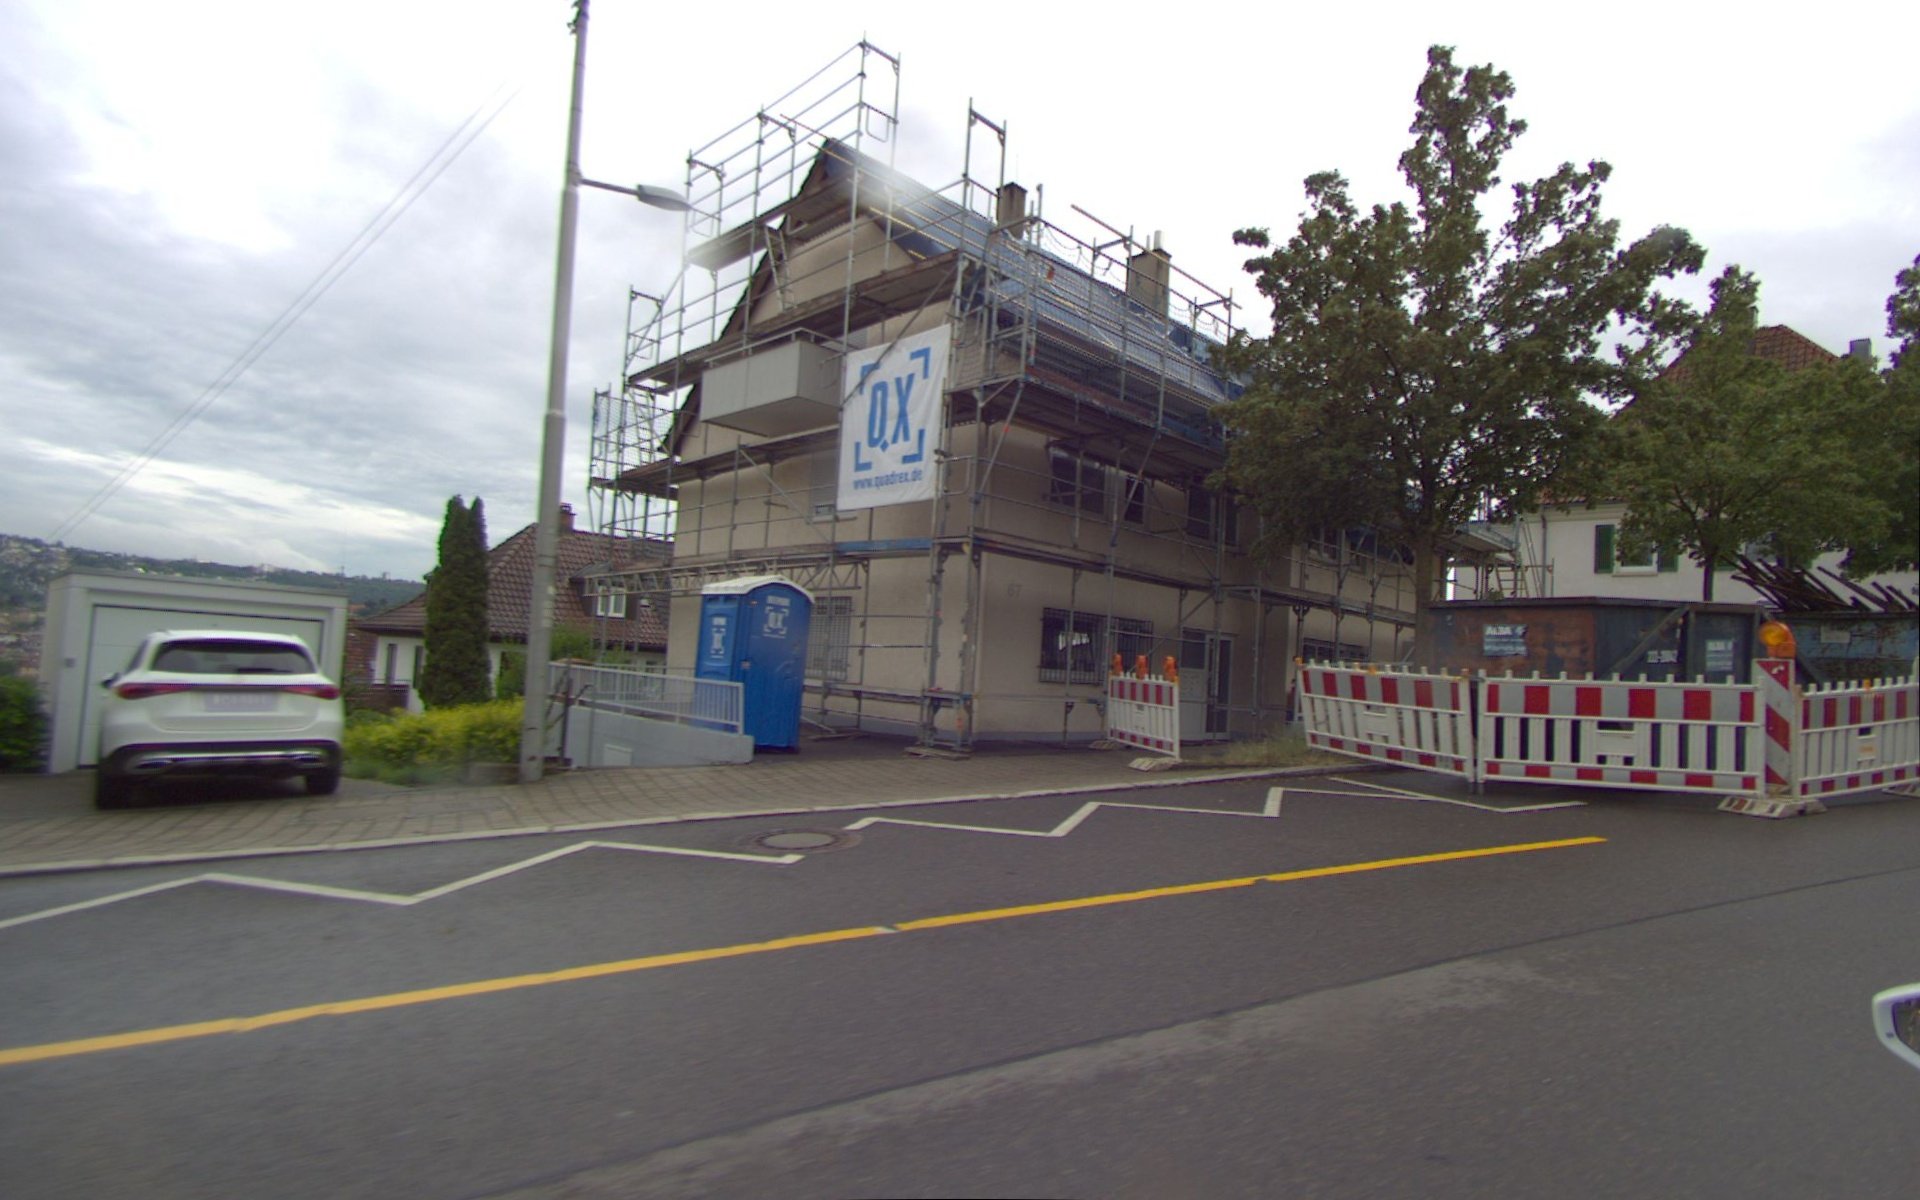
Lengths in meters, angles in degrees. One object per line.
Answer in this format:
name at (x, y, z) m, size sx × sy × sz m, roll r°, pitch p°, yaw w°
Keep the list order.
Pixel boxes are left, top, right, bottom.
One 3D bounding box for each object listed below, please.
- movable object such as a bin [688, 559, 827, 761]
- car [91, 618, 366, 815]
movable object such as a bin at (-2.741, 0.776, 13.579) m, size 1.375 × 2.539 × 1.302 m, roll 2°, pitch -2°, yaw -39°
car at (-7.792, 1.135, 10.548) m, size 1.936 × 1.625 × 4.161 m, roll 4°, pitch -6°, yaw -41°
